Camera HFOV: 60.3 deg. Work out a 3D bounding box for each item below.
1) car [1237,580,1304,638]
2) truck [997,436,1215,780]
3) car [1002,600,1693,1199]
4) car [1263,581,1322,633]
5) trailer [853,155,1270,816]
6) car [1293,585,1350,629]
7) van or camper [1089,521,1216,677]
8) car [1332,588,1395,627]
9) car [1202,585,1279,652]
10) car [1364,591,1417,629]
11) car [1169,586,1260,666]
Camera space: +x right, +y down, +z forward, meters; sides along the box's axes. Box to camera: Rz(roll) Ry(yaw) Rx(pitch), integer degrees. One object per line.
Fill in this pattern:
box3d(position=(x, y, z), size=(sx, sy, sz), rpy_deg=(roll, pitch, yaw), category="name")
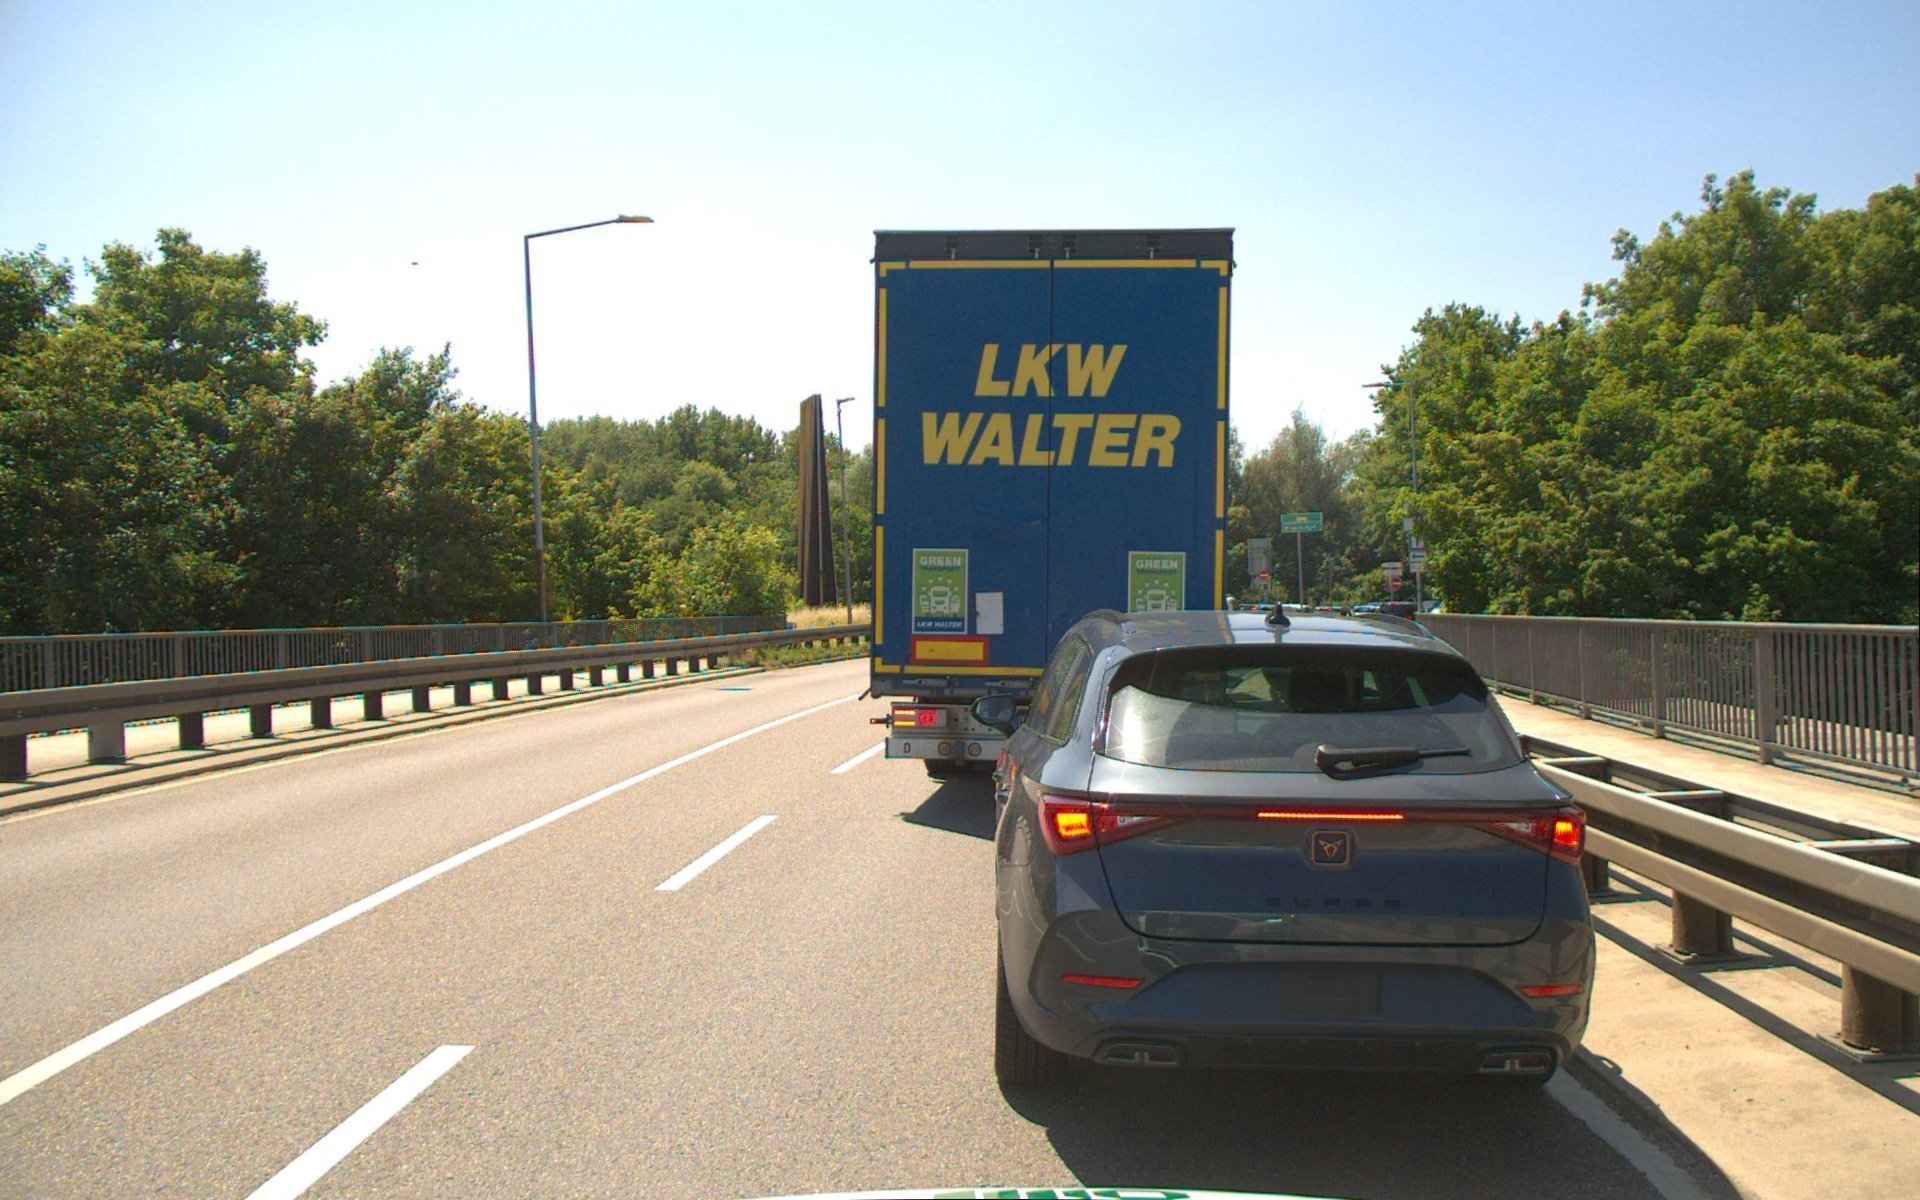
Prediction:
box3d(position=(10.436, 0.269, 55.446), size=(1.685, 1.876, 4.002), rpy_deg=(0, 0, 18), category="car")
box3d(position=(2.314, 0.080, 25.078), size=(2.843, 4.496, 6.560), rpy_deg=(0, 0, 7), category="truck")
box3d(position=(0.976, 0.744, 5.933), size=(1.642, 1.481, 3.959), rpy_deg=(0, 0, 1), category="car")
box3d(position=(12.427, 0.226, 61.685), size=(1.685, 1.876, 4.002), rpy_deg=(0, 0, 18), category="car")
box3d(position=(1.420, -0.817, 17.587), size=(2.843, 4.496, 12.442), rpy_deg=(0, 0, 7), category="trailer")
box3d(position=(14.964, 0.297, 68.361), size=(1.651, 1.791, 3.999), rpy_deg=(0, -1, 22), category="car")
box3d(position=(4.035, -0.033, 33.671), size=(2.108, 2.865, 6.393), rpy_deg=(0, 0, 11), category="van or camper")
box3d(position=(18.222, 0.360, 74.656), size=(1.954, 1.603, 3.996), rpy_deg=(2, -1, 26), category="car")
box3d(position=(8.074, 0.485, 47.424), size=(1.684, 1.834, 4.002), rpy_deg=(0, 0, 17), category="car")
box3d(position=(21.004, 0.483, 80.674), size=(1.653, 1.791, 3.995), rpy_deg=(0, -1, 28), category="car")
box3d(position=(6.370, 0.587, 41.080), size=(1.684, 1.876, 4.002), rpy_deg=(0, 1, 17), category="car")
